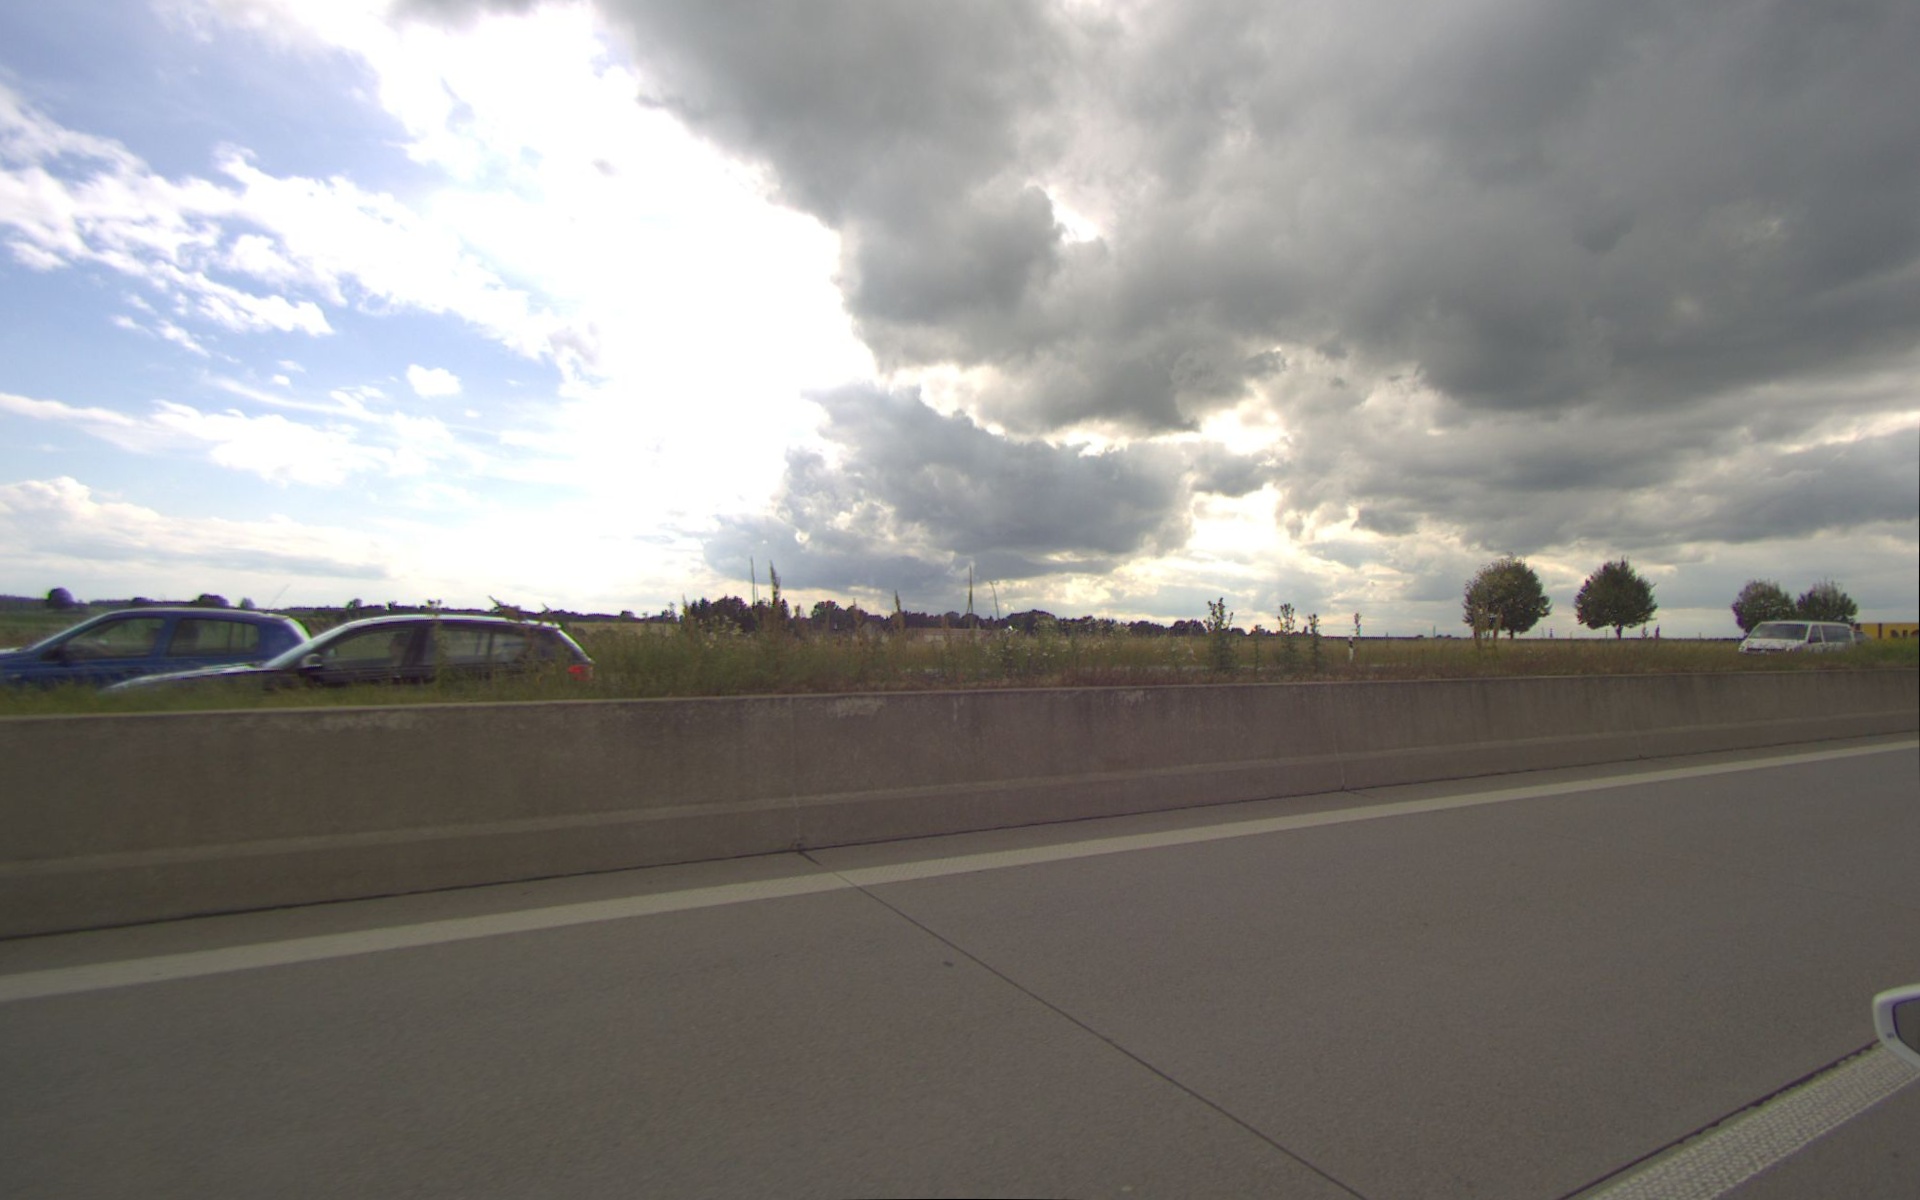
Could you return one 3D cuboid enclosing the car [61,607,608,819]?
[{"bbox_3d":[-5.696,0.970,9.672,4.067,1.633,1.743,2,0,-30],"label":"car"}]

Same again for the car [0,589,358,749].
[{"bbox_3d":[-9.489,0.754,11.772,4.067,1.633,1.984,2,0,-30],"label":"car"}]

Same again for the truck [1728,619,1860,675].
[{"bbox_3d":[29.508,1.669,35.512,5.067,1.830,1.938,2,0,-30],"label":"truck"}]
